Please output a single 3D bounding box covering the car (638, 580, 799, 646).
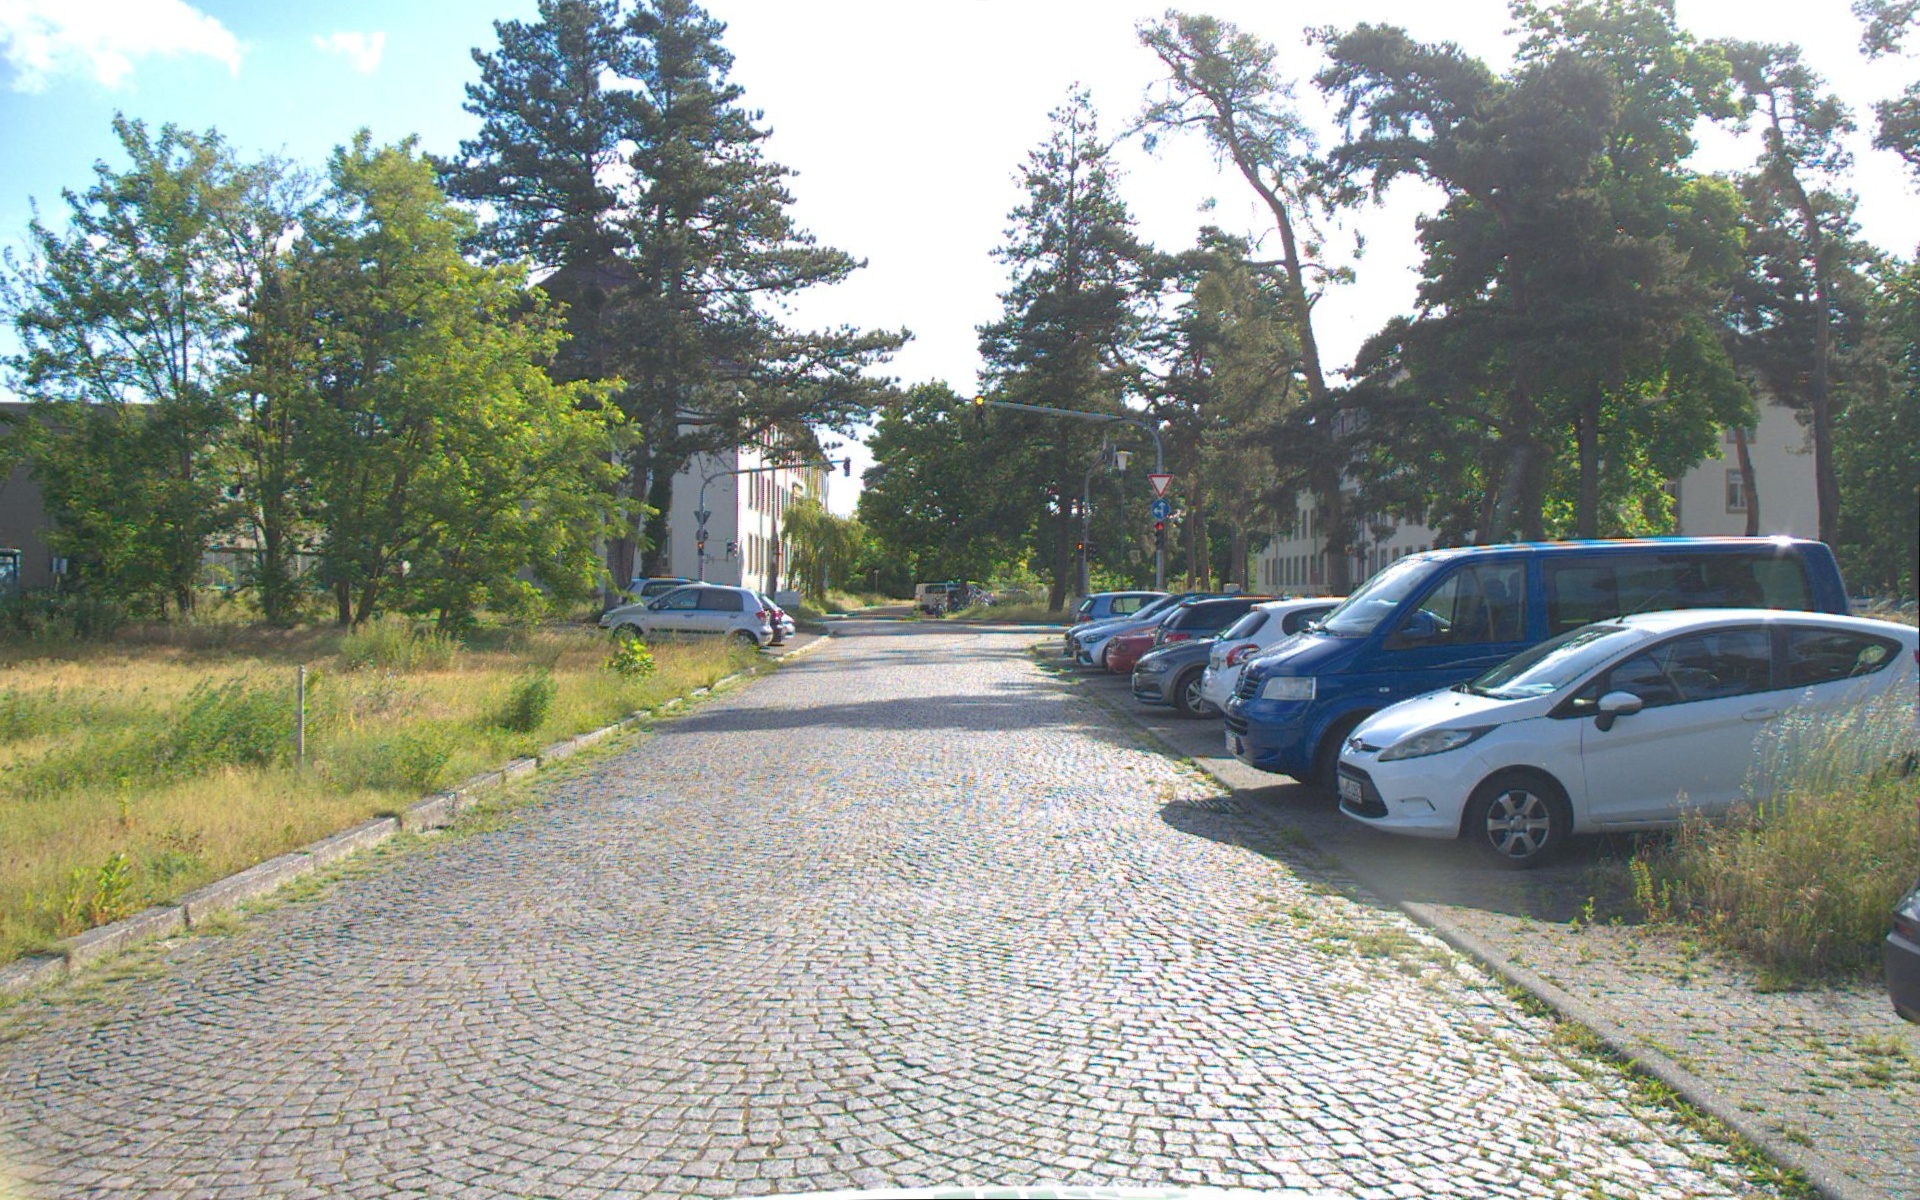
[{"bbox_3d":[-6.316,0.330,43.653,3.907,1.478,2.000,3,0,-2],"label":"car"}]

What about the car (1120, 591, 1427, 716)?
[{"bbox_3d":[3.964,0.659,21.274,3.601,1.493,1.645,-1,0,-2],"label":"car"}]

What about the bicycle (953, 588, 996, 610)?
[{"bbox_3d":[0.737,-0.068,86.937,2.134,1.119,0.805,1,0,-11],"label":"bicycle"}]

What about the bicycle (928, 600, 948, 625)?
[{"bbox_3d":[-1.104,0.618,82.274,0.789,1.190,2.177,-1,1,-7],"label":"bicycle"}]

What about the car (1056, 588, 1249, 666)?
[{"bbox_3d":[3.935,0.542,34.196,3.758,1.556,1.645,0,0,-2],"label":"car"}]

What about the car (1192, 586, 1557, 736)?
[{"bbox_3d":[4.520,0.636,18.397,3.619,1.491,1.645,-2,0,0],"label":"car"}]

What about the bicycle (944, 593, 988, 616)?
[{"bbox_3d":[0.313,0.227,85.761,2.134,1.119,0.805,1,0,-11],"label":"bicycle"}]

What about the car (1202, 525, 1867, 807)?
[{"bbox_3d":[4.414,0.475,13.217,4.584,2.049,2.082,0,0,-4],"label":"car"}]

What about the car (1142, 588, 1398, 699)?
[{"bbox_3d":[4.472,0.606,24.203,3.408,1.556,1.645,0,0,-2],"label":"car"}]

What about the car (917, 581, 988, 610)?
[{"bbox_3d":[-0.468,-0.295,103.218,4.390,1.758,1.999,1,0,-2],"label":"car"}]

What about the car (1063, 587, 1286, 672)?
[{"bbox_3d":[4.033,0.542,31.426,3.955,1.556,1.644,0,0,-5],"label":"car"}]

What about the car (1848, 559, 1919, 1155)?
[{"bbox_3d":[4.604,0.724,4.123,3.857,1.650,1.771,0,0,-2],"label":"car"}]

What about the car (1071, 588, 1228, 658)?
[{"bbox_3d":[4.188,0.498,36.841,3.276,1.508,1.645,0,0,-2],"label":"car"}]

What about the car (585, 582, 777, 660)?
[{"bbox_3d":[-5.980,0.437,35.869,3.908,1.628,1.999,0,0,-4],"label":"car"}]

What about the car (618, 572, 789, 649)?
[{"bbox_3d":[-6.344,0.246,41.252,3.907,1.629,1.999,4,0,-2],"label":"car"}]

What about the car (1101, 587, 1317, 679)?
[{"bbox_3d":[4.351,0.562,29.250,3.530,1.556,1.645,0,0,-2],"label":"car"}]

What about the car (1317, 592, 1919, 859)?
[{"bbox_3d":[4.293,0.724,10.536,3.645,1.514,1.644,0,0,-3],"label":"car"}]

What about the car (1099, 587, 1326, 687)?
[{"bbox_3d":[4.054,0.580,26.887,3.408,1.556,1.645,0,0,-2],"label":"car"}]
